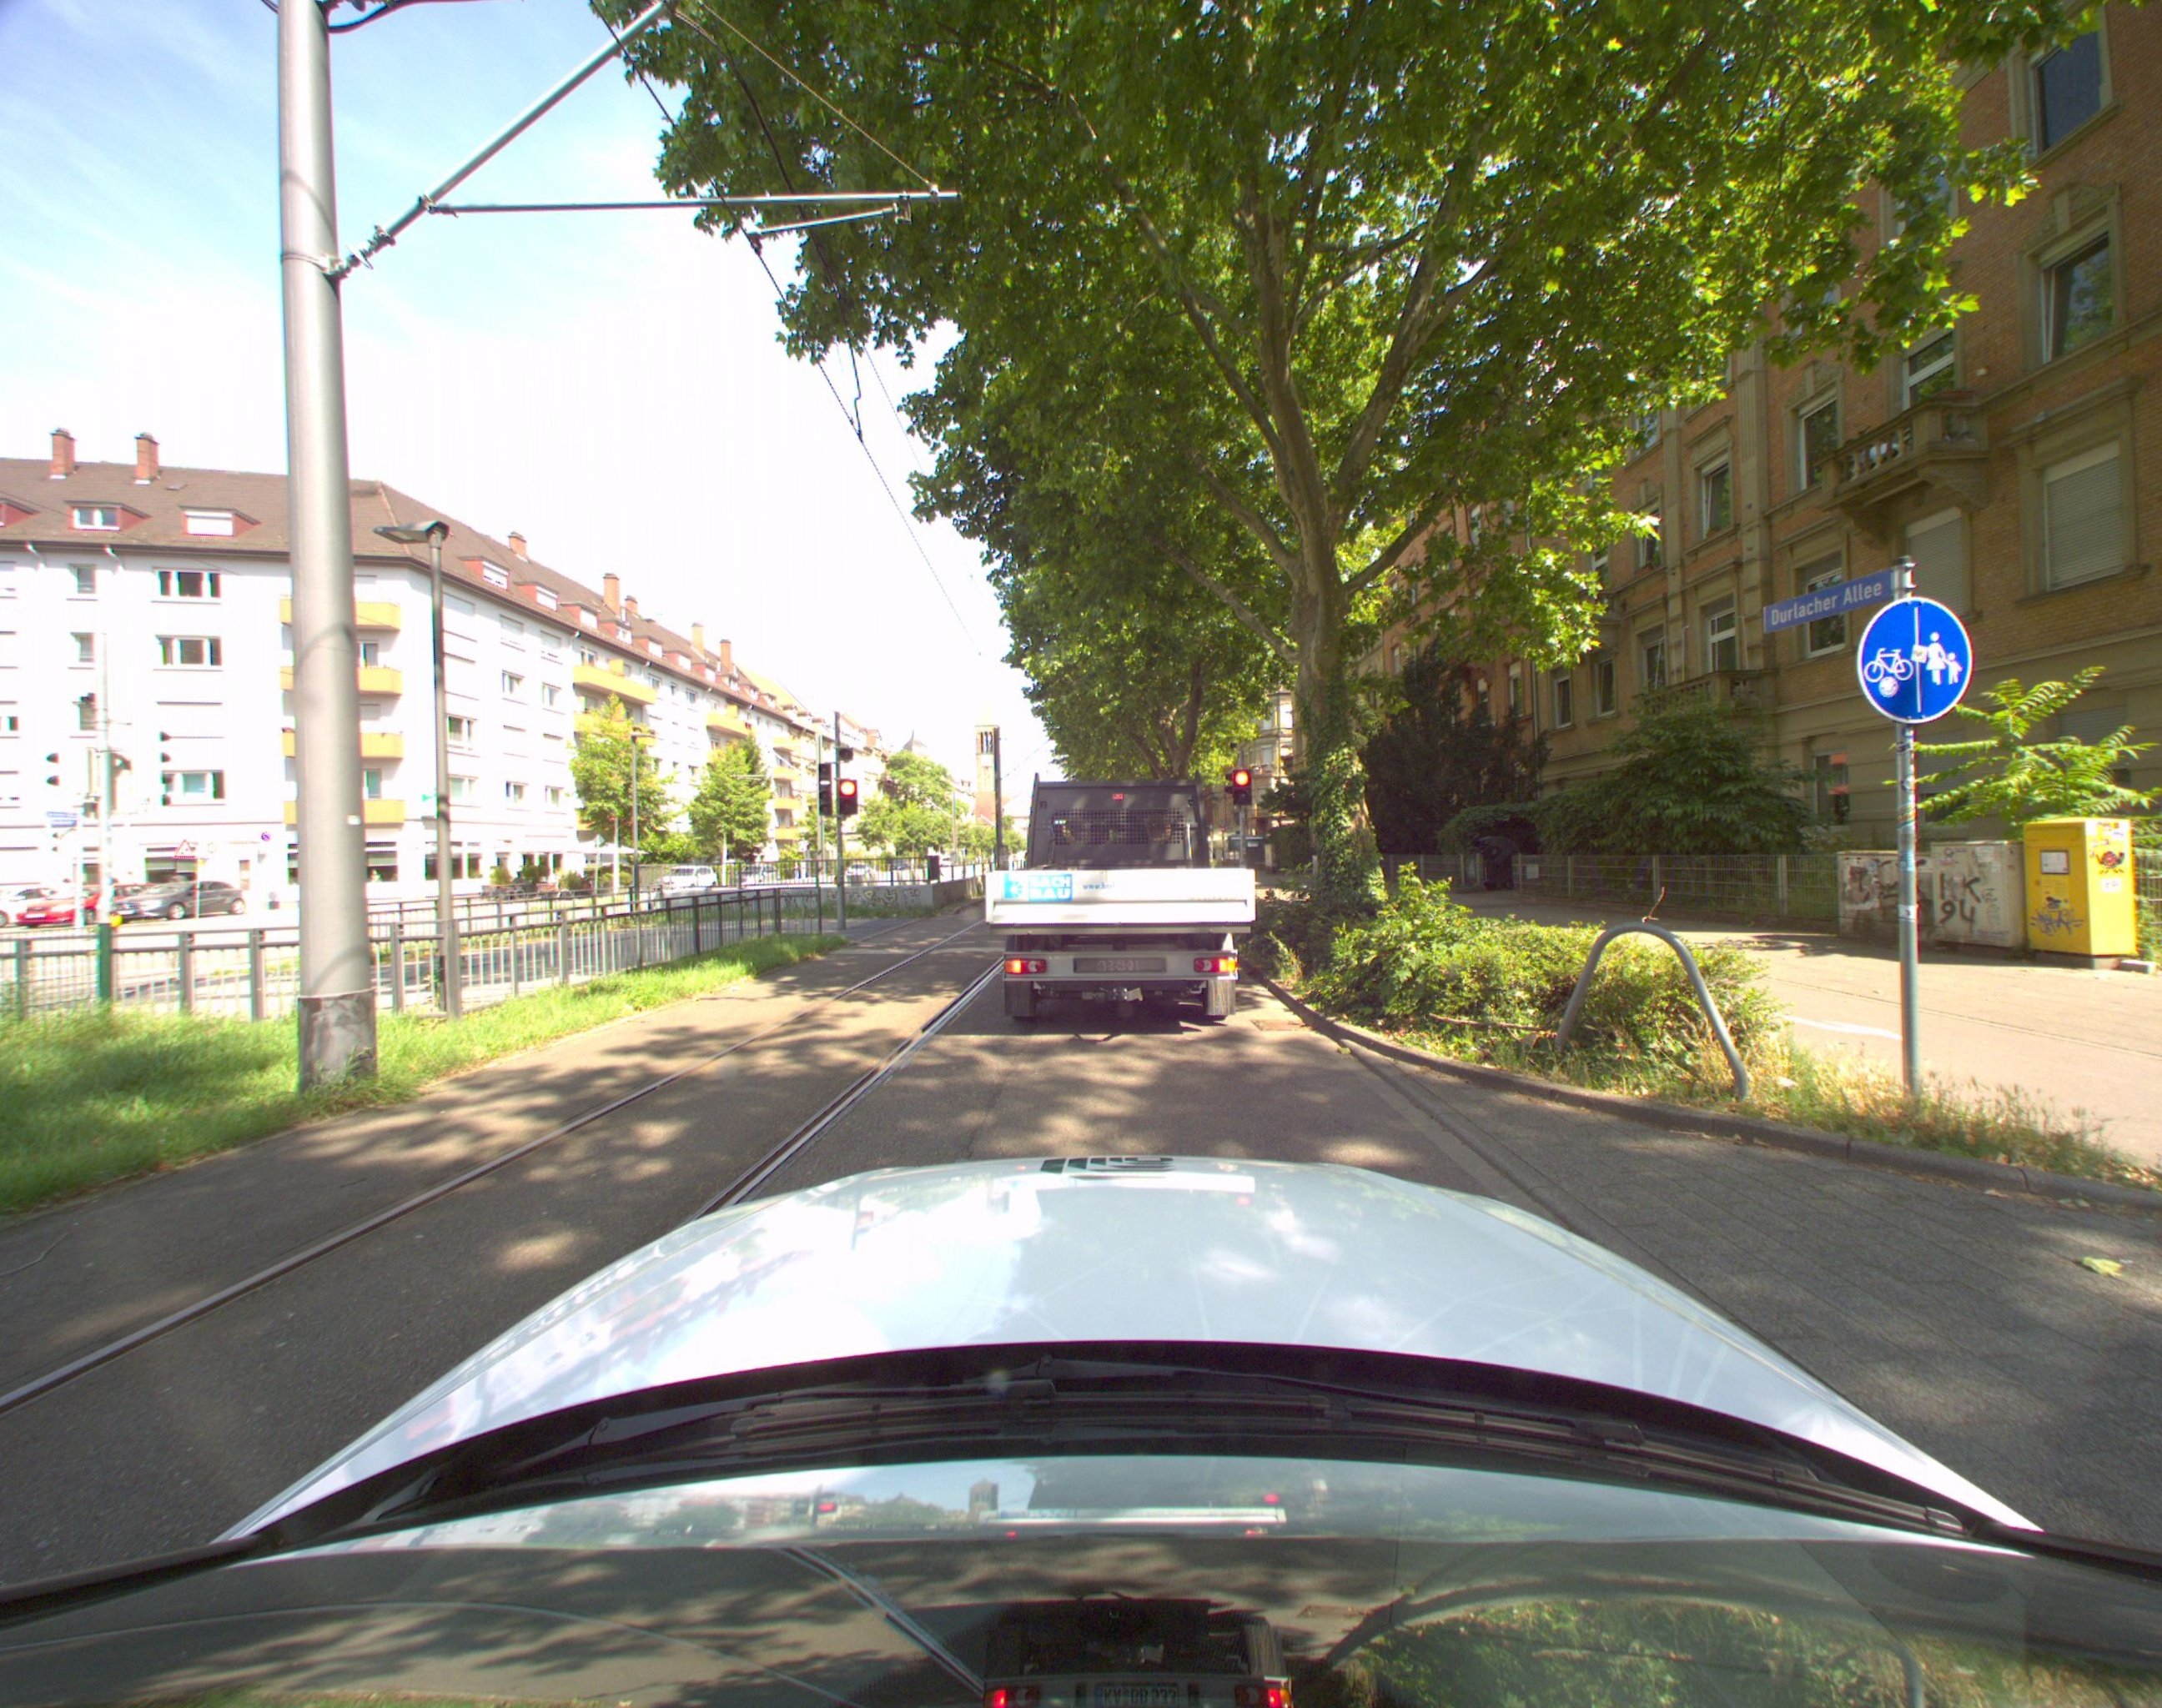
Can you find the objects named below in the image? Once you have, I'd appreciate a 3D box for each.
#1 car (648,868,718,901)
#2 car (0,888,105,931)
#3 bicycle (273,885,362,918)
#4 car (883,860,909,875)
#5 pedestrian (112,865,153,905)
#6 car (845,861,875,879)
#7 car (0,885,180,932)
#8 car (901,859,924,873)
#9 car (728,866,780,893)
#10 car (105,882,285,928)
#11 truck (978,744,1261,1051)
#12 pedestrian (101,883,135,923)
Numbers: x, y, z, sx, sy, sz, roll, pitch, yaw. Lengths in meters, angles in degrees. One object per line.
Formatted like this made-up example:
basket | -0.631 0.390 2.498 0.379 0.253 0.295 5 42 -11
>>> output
car | -20.527 1.544 42.154 1.767 1.498 3.994 -3 0 -4
car | -39.305 2.061 29.976 1.930 1.406 4.158 -2 0 -6
bicycle | -30.095 1.850 32.180 0.908 1.137 2.807 -2 0 -1
car | -19.448 1.406 85.745 1.764 1.498 4.000 -2 0 0
pedestrian | -39.137 1.269 33.614 0.861 1.572 0.685 -2 0 -22
car | -19.596 1.387 72.375 1.767 1.498 3.994 -2 0 -4
car | -36.517 1.969 30.144 1.930 1.406 4.158 -2 0 -6
car | -19.366 1.416 93.585 1.764 1.498 4.000 -2 0 0
car | -20.309 1.553 50.735 1.767 1.498 3.994 -3 0 -4
car | -33.159 1.868 30.716 1.830 1.376 4.637 -2 0 -4
truck | 0.397 0.337 8.456 2.130 2.319 4.404 -1 0 3
pedestrian | -38.974 1.966 32.980 0.690 1.572 0.542 -2 0 -22
